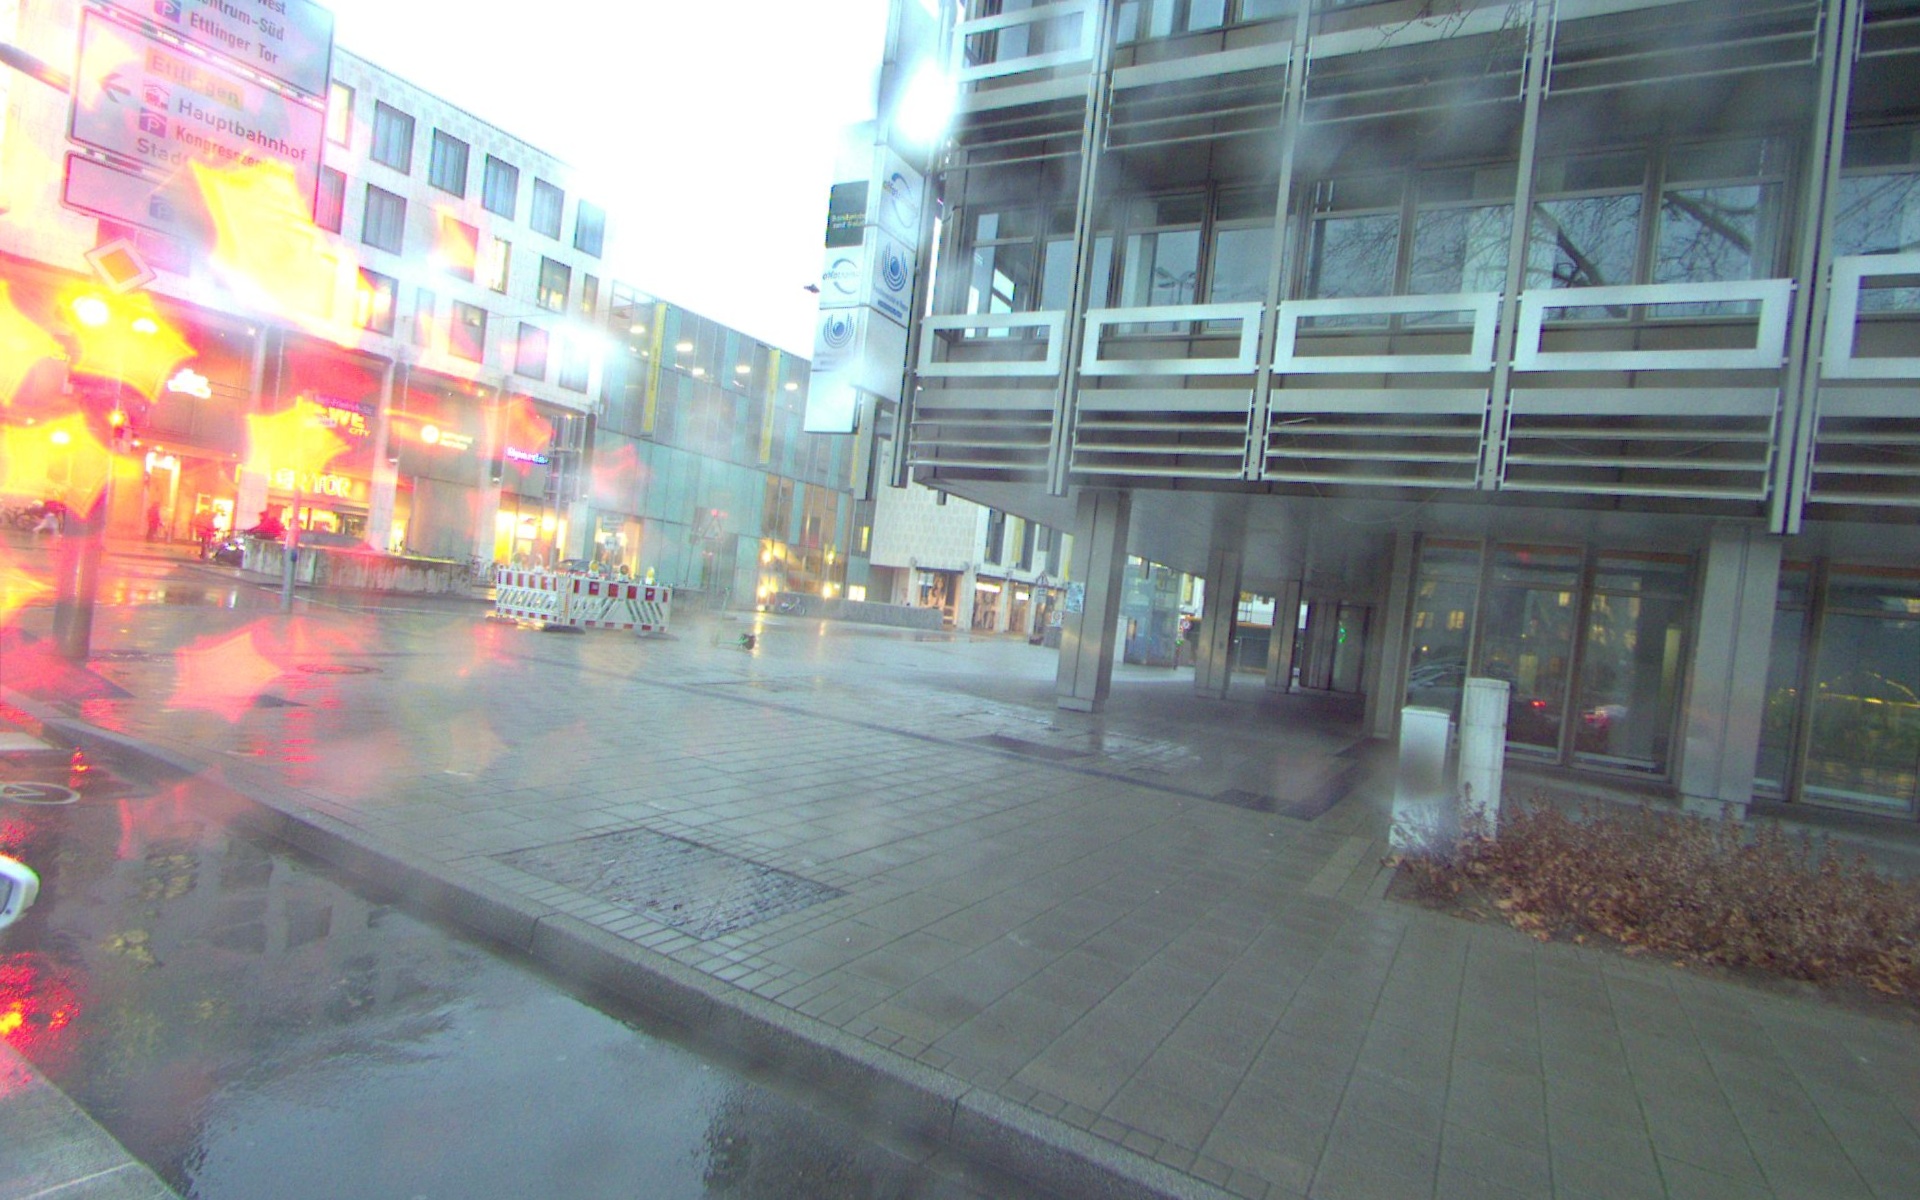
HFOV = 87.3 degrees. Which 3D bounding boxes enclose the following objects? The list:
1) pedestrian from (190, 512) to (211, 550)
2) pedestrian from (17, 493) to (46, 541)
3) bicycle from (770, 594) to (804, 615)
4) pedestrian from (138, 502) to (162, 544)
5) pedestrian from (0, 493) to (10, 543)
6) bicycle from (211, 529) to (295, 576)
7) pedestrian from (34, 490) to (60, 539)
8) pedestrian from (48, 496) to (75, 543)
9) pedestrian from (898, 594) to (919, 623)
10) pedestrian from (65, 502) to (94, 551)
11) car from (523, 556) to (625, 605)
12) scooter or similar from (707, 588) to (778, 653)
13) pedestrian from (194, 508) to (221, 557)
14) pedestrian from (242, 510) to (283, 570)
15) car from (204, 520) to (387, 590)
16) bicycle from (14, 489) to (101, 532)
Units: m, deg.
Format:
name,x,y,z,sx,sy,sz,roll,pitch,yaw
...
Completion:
name,x,y,z,sx,sy,sz,roll,pitch,yaw
pedestrian,-36.514,-3.329,48.378,0.529,1.739,0.500,6,1,-21
pedestrian,-35.582,-3.185,38.568,0.529,1.739,0.500,6,1,-21
bicycle,-10.638,0.261,61.830,2.101,1.046,0.616,6,0,33
pedestrian,-35.396,-3.371,43.965,0.529,1.739,0.500,6,1,-21
pedestrian,-35.038,-3.010,36.397,0.656,1.782,0.703,7,1,31
bicycle,-20.310,-1.356,28.924,1.839,1.107,0.610,7,0,-44
pedestrian,-34.738,-3.241,38.274,0.368,1.782,0.512,7,1,31
pedestrian,-35.245,-3.145,39.471,0.529,1.739,0.500,6,1,-21
pedestrian,-3.898,0.654,76.160,1.006,2.037,0.906,6,-1,31
pedestrian,-33.918,-2.828,38.749,0.474,1.782,0.618,7,1,31
car,-15.814,-0.780,41.343,1.648,1.601,3.575,6,-1,29
scooter or similar,-4.371,0.407,20.244,1.215,1.144,0.606,7,0,32
pedestrian,-27.118,-2.421,36.259,0.529,1.706,0.546,6,1,-21
pedestrian,-20.124,-1.730,29.030,0.778,1.615,0.605,6,1,-43
car,-21.329,-1.417,32.441,1.771,1.593,4.531,7,-1,41
bicycle,-35.985,-3.545,40.150,0.623,1.345,2.431,7,0,26
